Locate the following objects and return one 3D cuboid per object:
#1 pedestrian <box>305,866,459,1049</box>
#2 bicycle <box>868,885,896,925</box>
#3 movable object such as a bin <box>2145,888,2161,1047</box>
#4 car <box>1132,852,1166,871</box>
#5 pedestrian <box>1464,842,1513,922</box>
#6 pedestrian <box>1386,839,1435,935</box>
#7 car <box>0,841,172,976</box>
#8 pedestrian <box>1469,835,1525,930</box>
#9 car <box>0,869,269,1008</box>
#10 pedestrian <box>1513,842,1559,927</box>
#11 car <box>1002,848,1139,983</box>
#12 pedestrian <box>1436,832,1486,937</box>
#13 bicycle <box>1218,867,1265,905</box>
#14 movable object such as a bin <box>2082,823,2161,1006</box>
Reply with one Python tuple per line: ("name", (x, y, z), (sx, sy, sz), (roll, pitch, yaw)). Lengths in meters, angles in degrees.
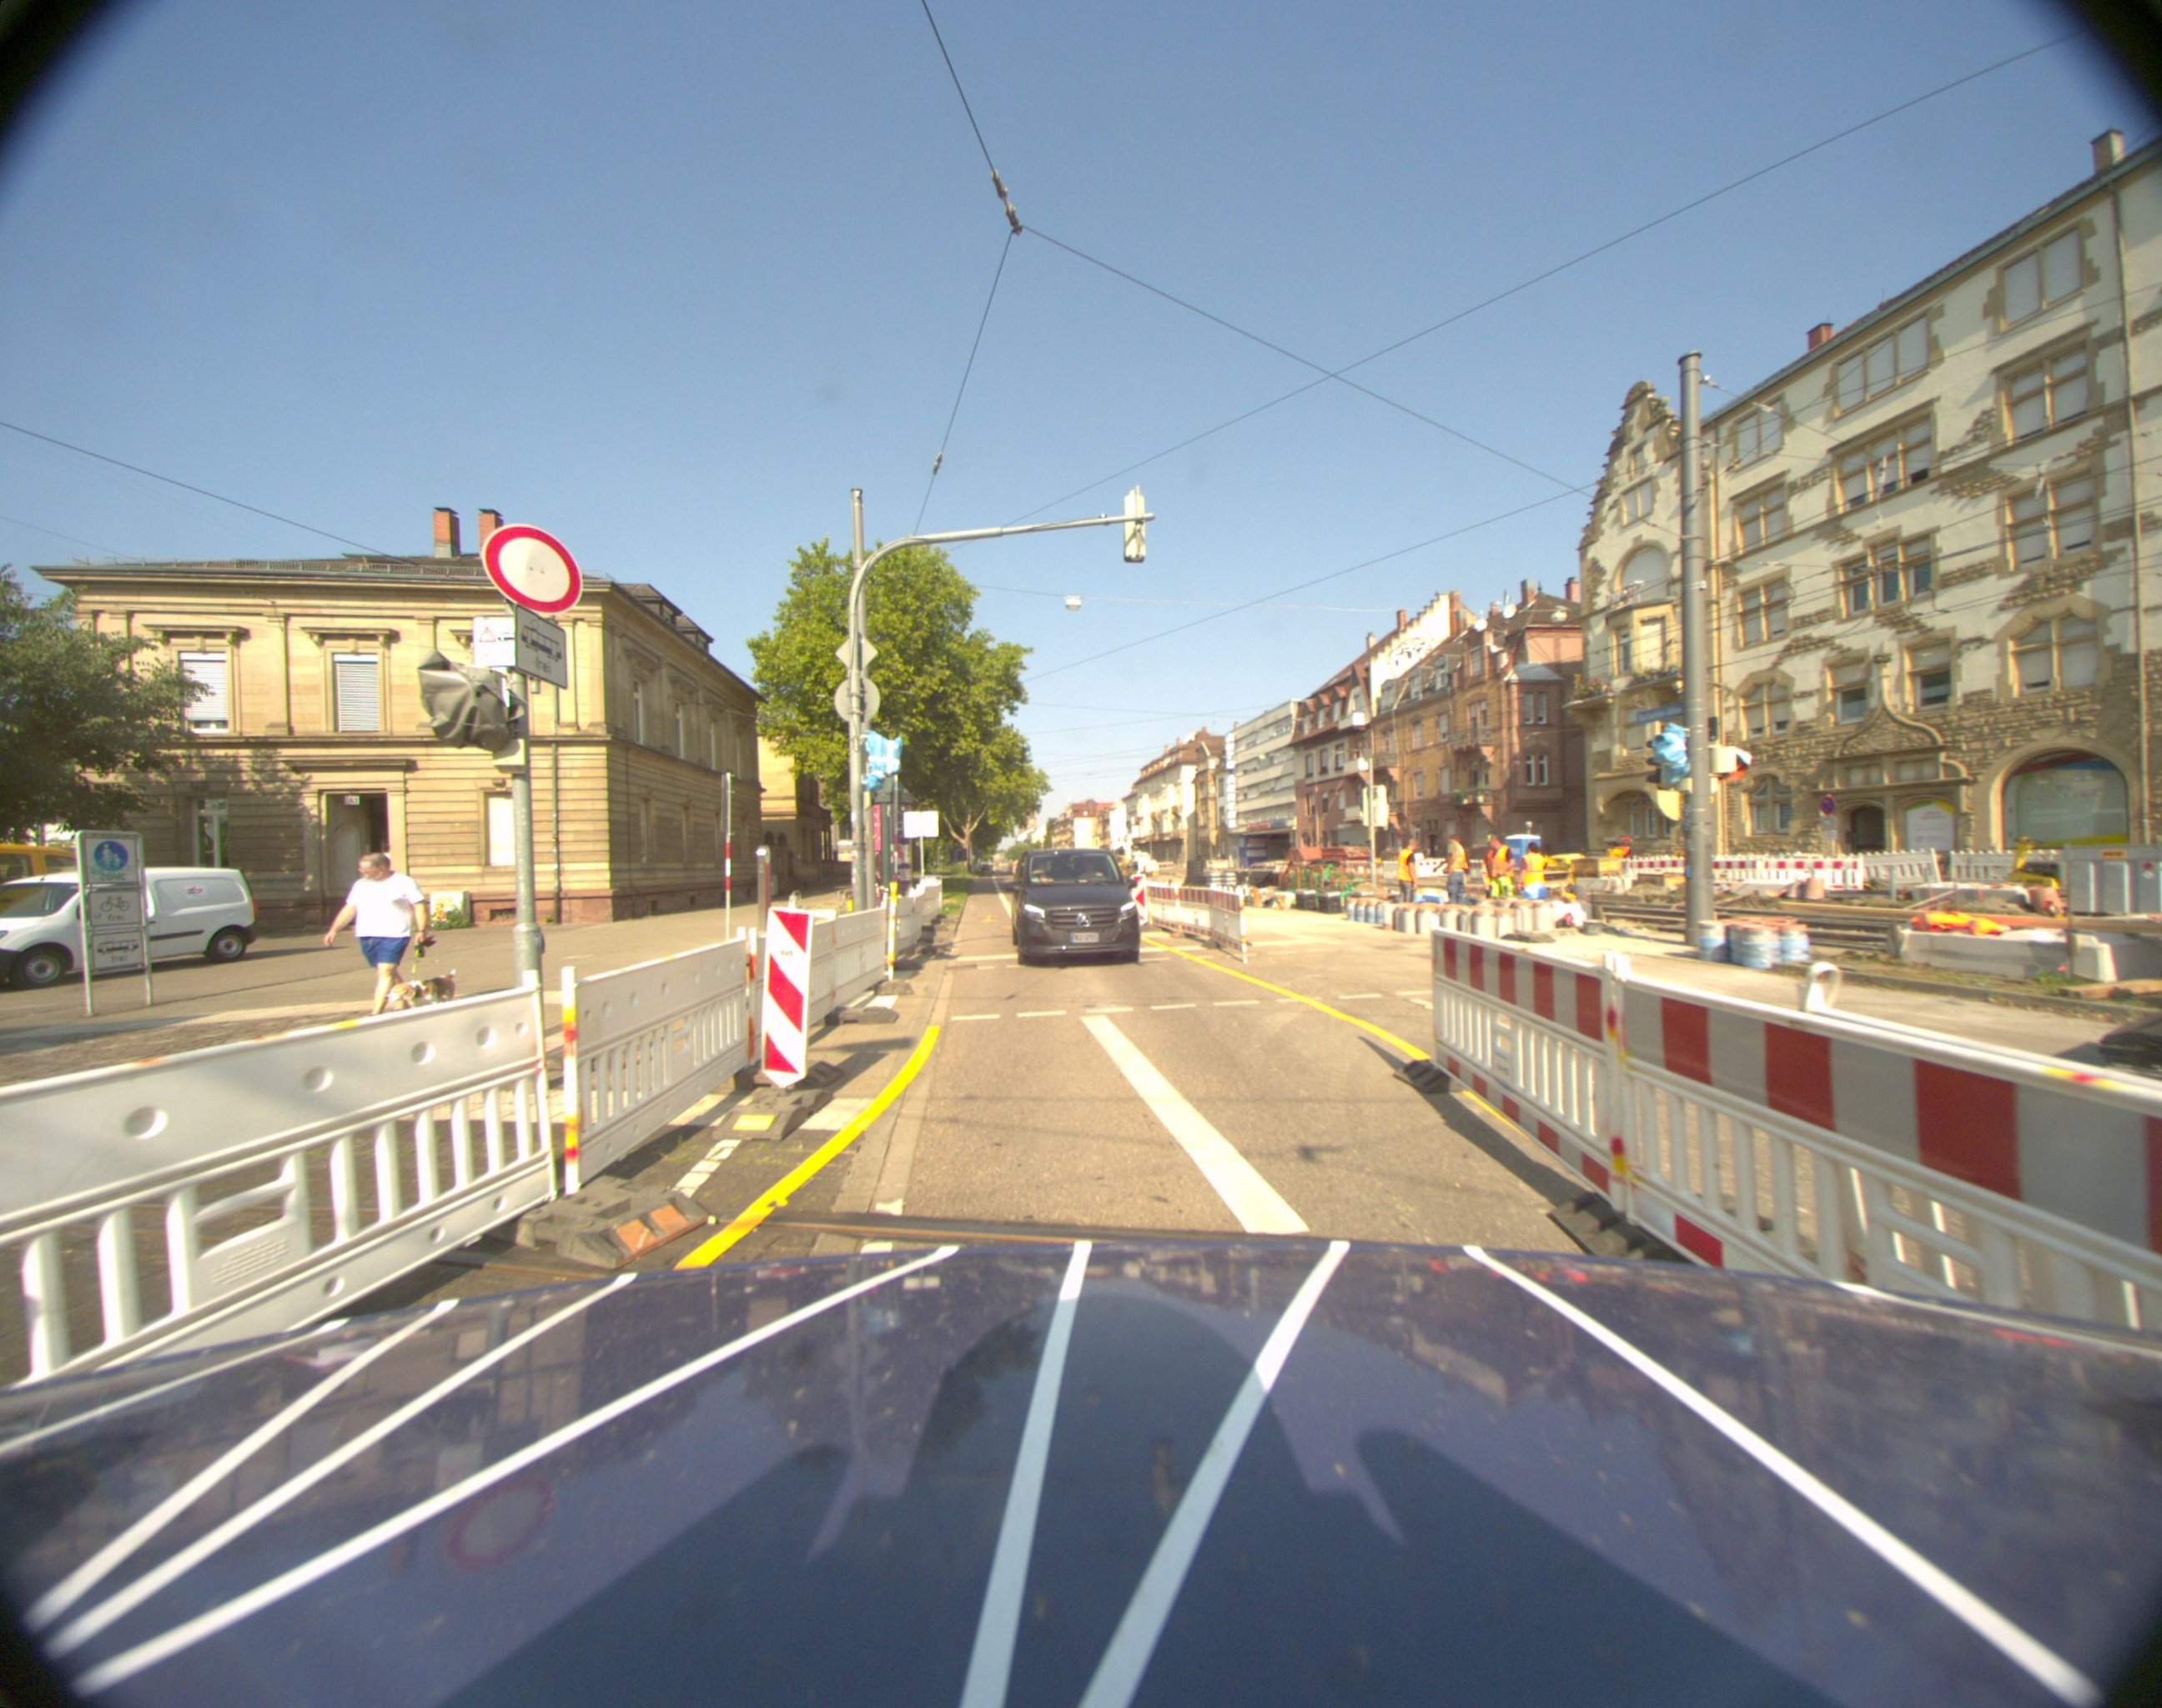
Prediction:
("pedestrian", (-7.017, 0.998, 7.672), (0.869, 1.727, 0.670), (-2, 0, -8))
("bicycle", (-5.570, 1.415, 21.295), (0.540, 1.000, 1.570), (0, 0, -7))
("movable object such as a bin", (8.767, 0.855, 4.805), (0.889, 1.204, 2.211), (-2, 0, -6))
("car", (7.860, 0.862, 88.930), (2.368, 2.122, 7.117), (-1, 0, -8))
("pedestrian", (9.475, 0.646, 17.683), (0.828, 1.806, 0.886), (-1, 1, 17))
("pedestrian", (6.770, 0.651, 15.595), (0.716, 1.915, 0.683), (-2, 1, -44))
("car", (-20.530, 1.003, 13.659), (2.265, 2.408, 5.484), (-2, 0, -9))
("pedestrian", (8.310, 0.559, 15.190), (0.721, 1.859, 0.708), (-1, 1, 1))
("car", (-16.583, 1.259, 12.582), (1.909, 1.773, 4.221), (0, 2, -5))
("pedestrian", (9.957, 0.641, 16.613), (0.752, 1.799, 0.832), (-1, 1, 38))
("car", (-0.359, 0.894, 13.179), (1.854, 1.875, 4.176), (-3, 0, -7))
("pedestrian", (7.474, 0.577, 14.940), (0.698, 2.003, 0.672), (-2, 1, -44))
("bicycle", (5.159, 1.011, 24.565), (0.564, 1.092, 1.965), (-3, 1, -17))
("movable object such as a bin", (10.058, 0.491, 5.349), (1.605, 1.549, 3.284), (-2, 0, -6))
